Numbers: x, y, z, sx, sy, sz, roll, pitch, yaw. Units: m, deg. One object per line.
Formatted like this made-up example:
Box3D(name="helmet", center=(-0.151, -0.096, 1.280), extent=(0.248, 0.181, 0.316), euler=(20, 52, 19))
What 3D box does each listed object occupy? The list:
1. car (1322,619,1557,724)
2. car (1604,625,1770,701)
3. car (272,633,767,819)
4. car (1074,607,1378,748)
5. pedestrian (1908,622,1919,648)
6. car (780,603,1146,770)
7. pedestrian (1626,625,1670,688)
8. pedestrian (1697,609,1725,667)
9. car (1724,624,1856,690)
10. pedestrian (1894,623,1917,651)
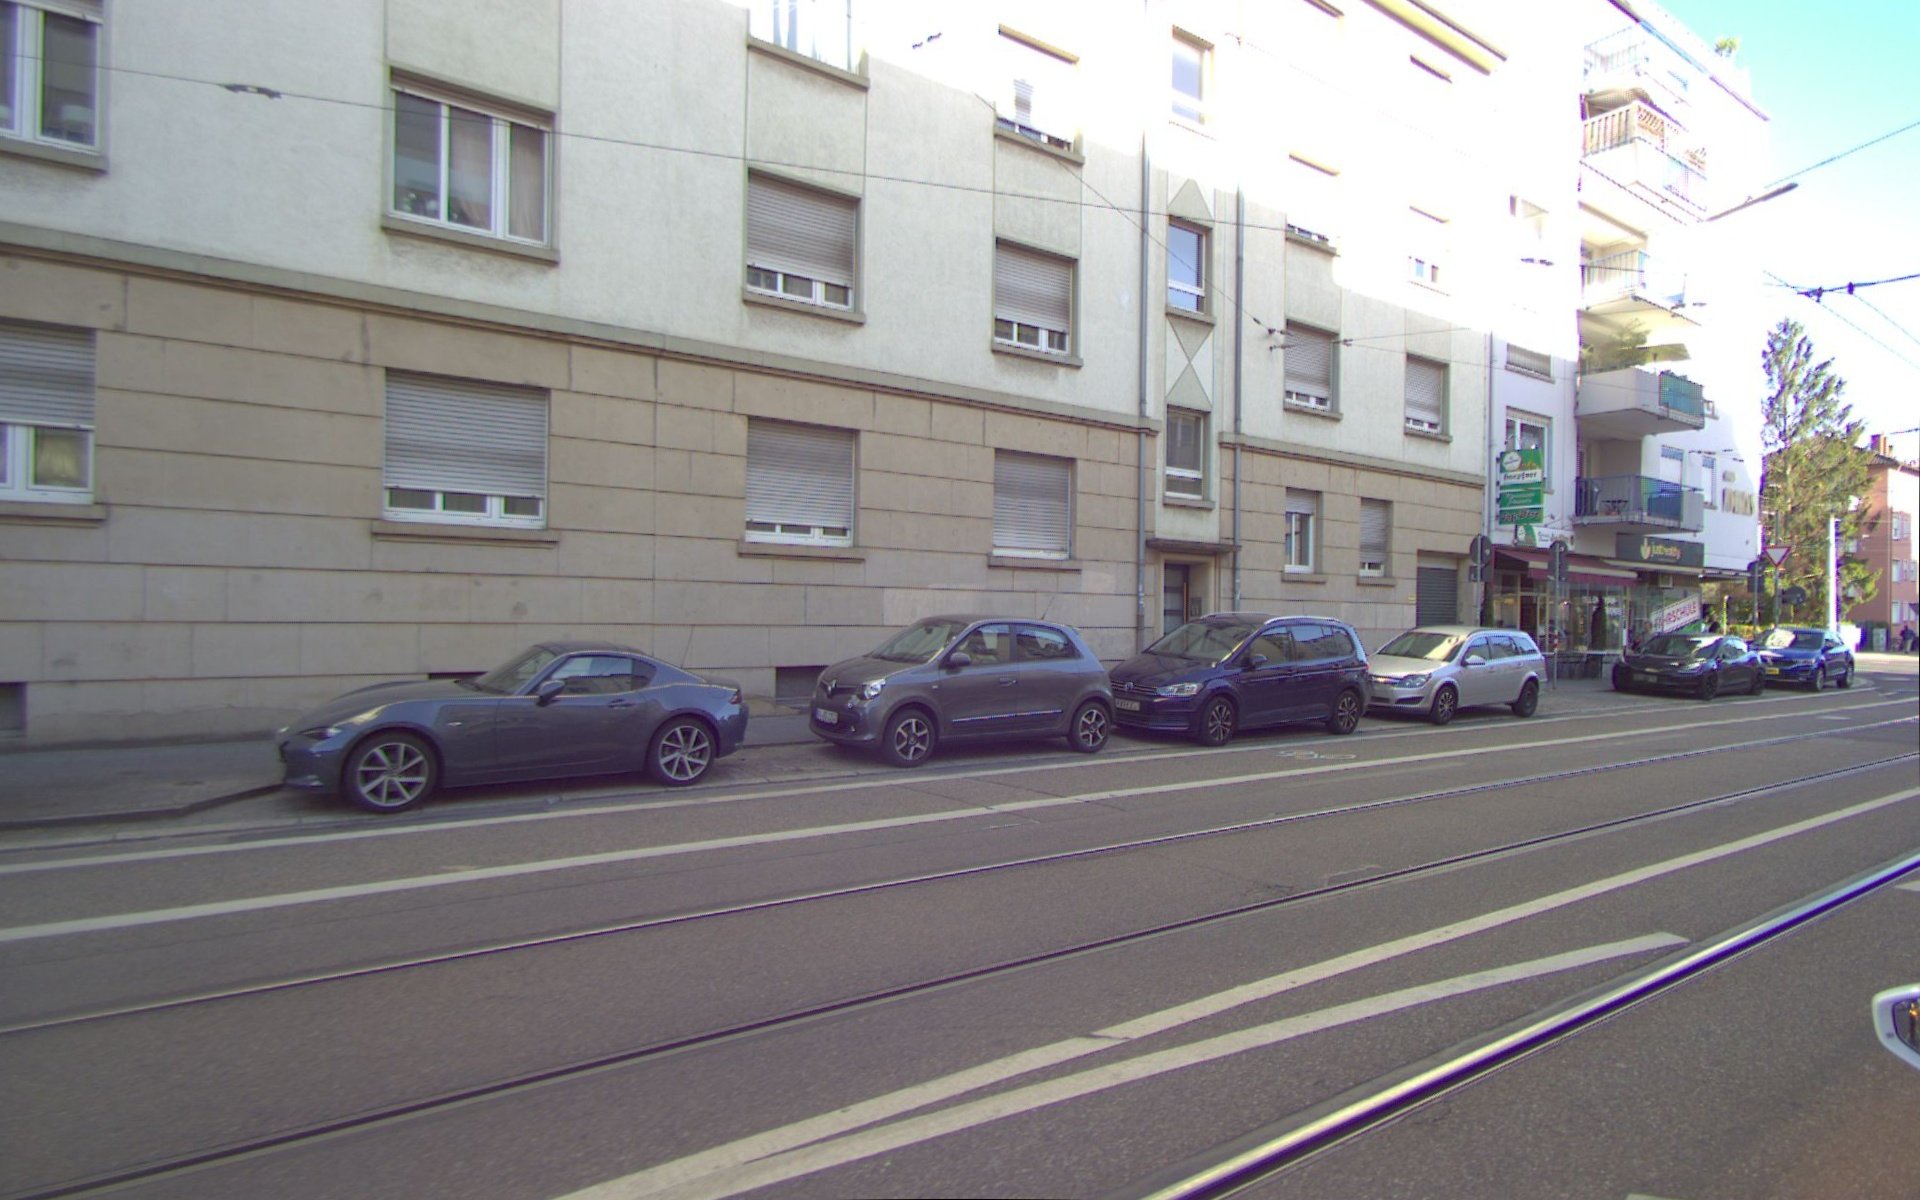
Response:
Box3D(name="car", center=(8.277, 1.164, 17.208), extent=(4.342, 1.529, 1.688), euler=(2, 0, -35))
Box3D(name="car", center=(16.682, 1.400, 22.992), extent=(4.267, 1.529, 1.689), euler=(2, 0, -34))
Box3D(name="car", center=(-3.810, 0.974, 8.906), extent=(3.749, 1.232, 1.688), euler=(2, 0, -36))
Box3D(name="car", center=(3.760, 1.002, 13.935), extent=(4.200, 1.637, 1.689), euler=(2, 0, -34))
Box3D(name="pedestrian", center=(62.898, 2.288, 65.894), extent=(0.728, 1.713, 0.840), euler=(1, 0, -28))
Box3D(name="car", center=(0.106, 0.912, 11.644), extent=(3.959, 1.590, 1.689), euler=(2, 0, -34))
Box3D(name="pedestrian", center=(17.530, 1.422, 25.593), extent=(0.713, 1.569, 0.694), euler=(0, 0, -31))
Box3D(name="pedestrian", center=(27.007, 1.363, 36.131), extent=(0.482, 2.040, 0.681), euler=(1, 0, -36))
Box3D(name="car", center=(21.773, 1.453, 26.300), extent=(3.962, 1.529, 1.732), euler=(2, 0, -36))
Box3D(name="pedestrian", center=(58.262, 2.296, 61.903), extent=(0.728, 1.713, 0.840), euler=(1, 0, -28))
